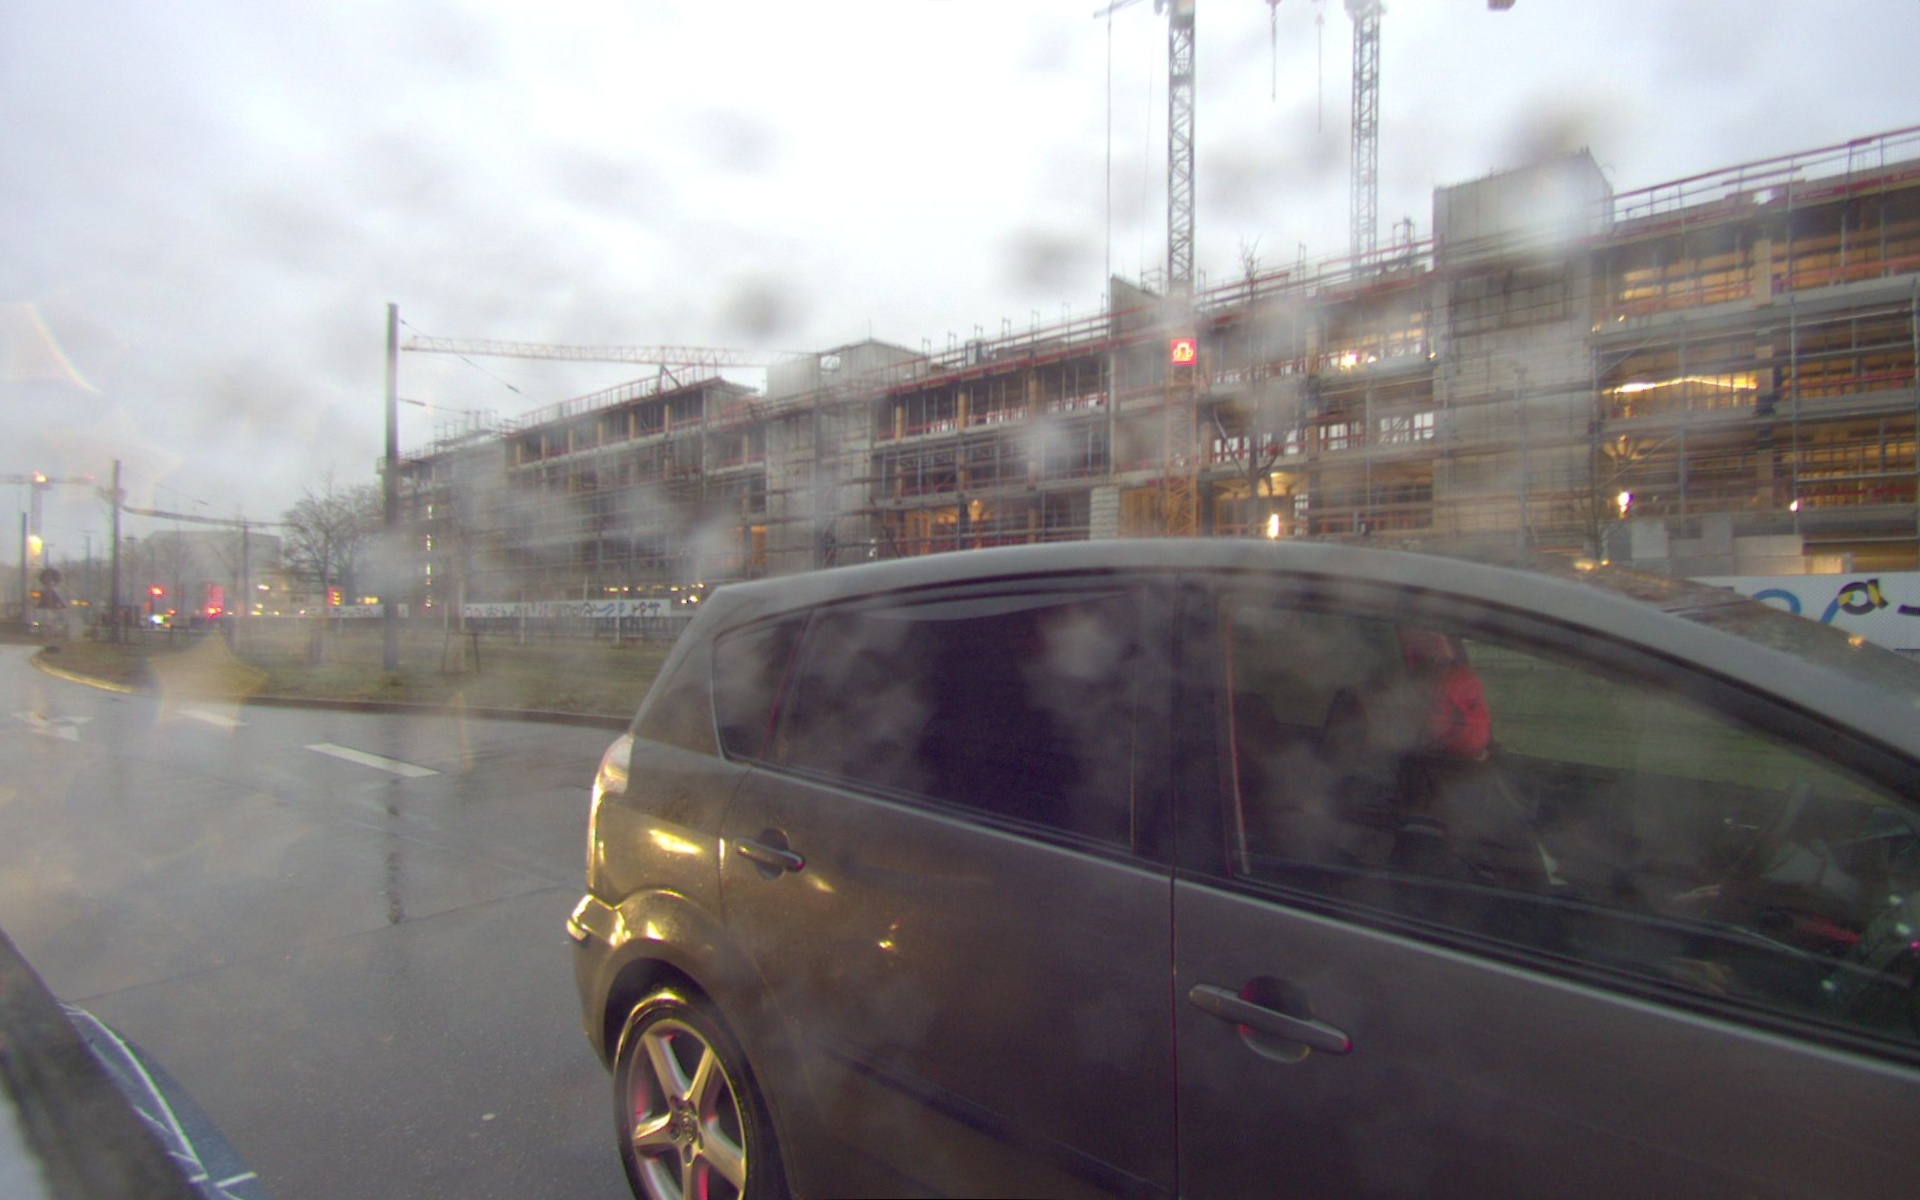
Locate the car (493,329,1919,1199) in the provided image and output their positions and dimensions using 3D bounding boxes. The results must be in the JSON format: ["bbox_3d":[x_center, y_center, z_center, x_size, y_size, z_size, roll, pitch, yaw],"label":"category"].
[{"bbox_3d":[1.002,0.606,1.887,4.131,1.659,1.793,-1,-1,39],"label":"car"}]
